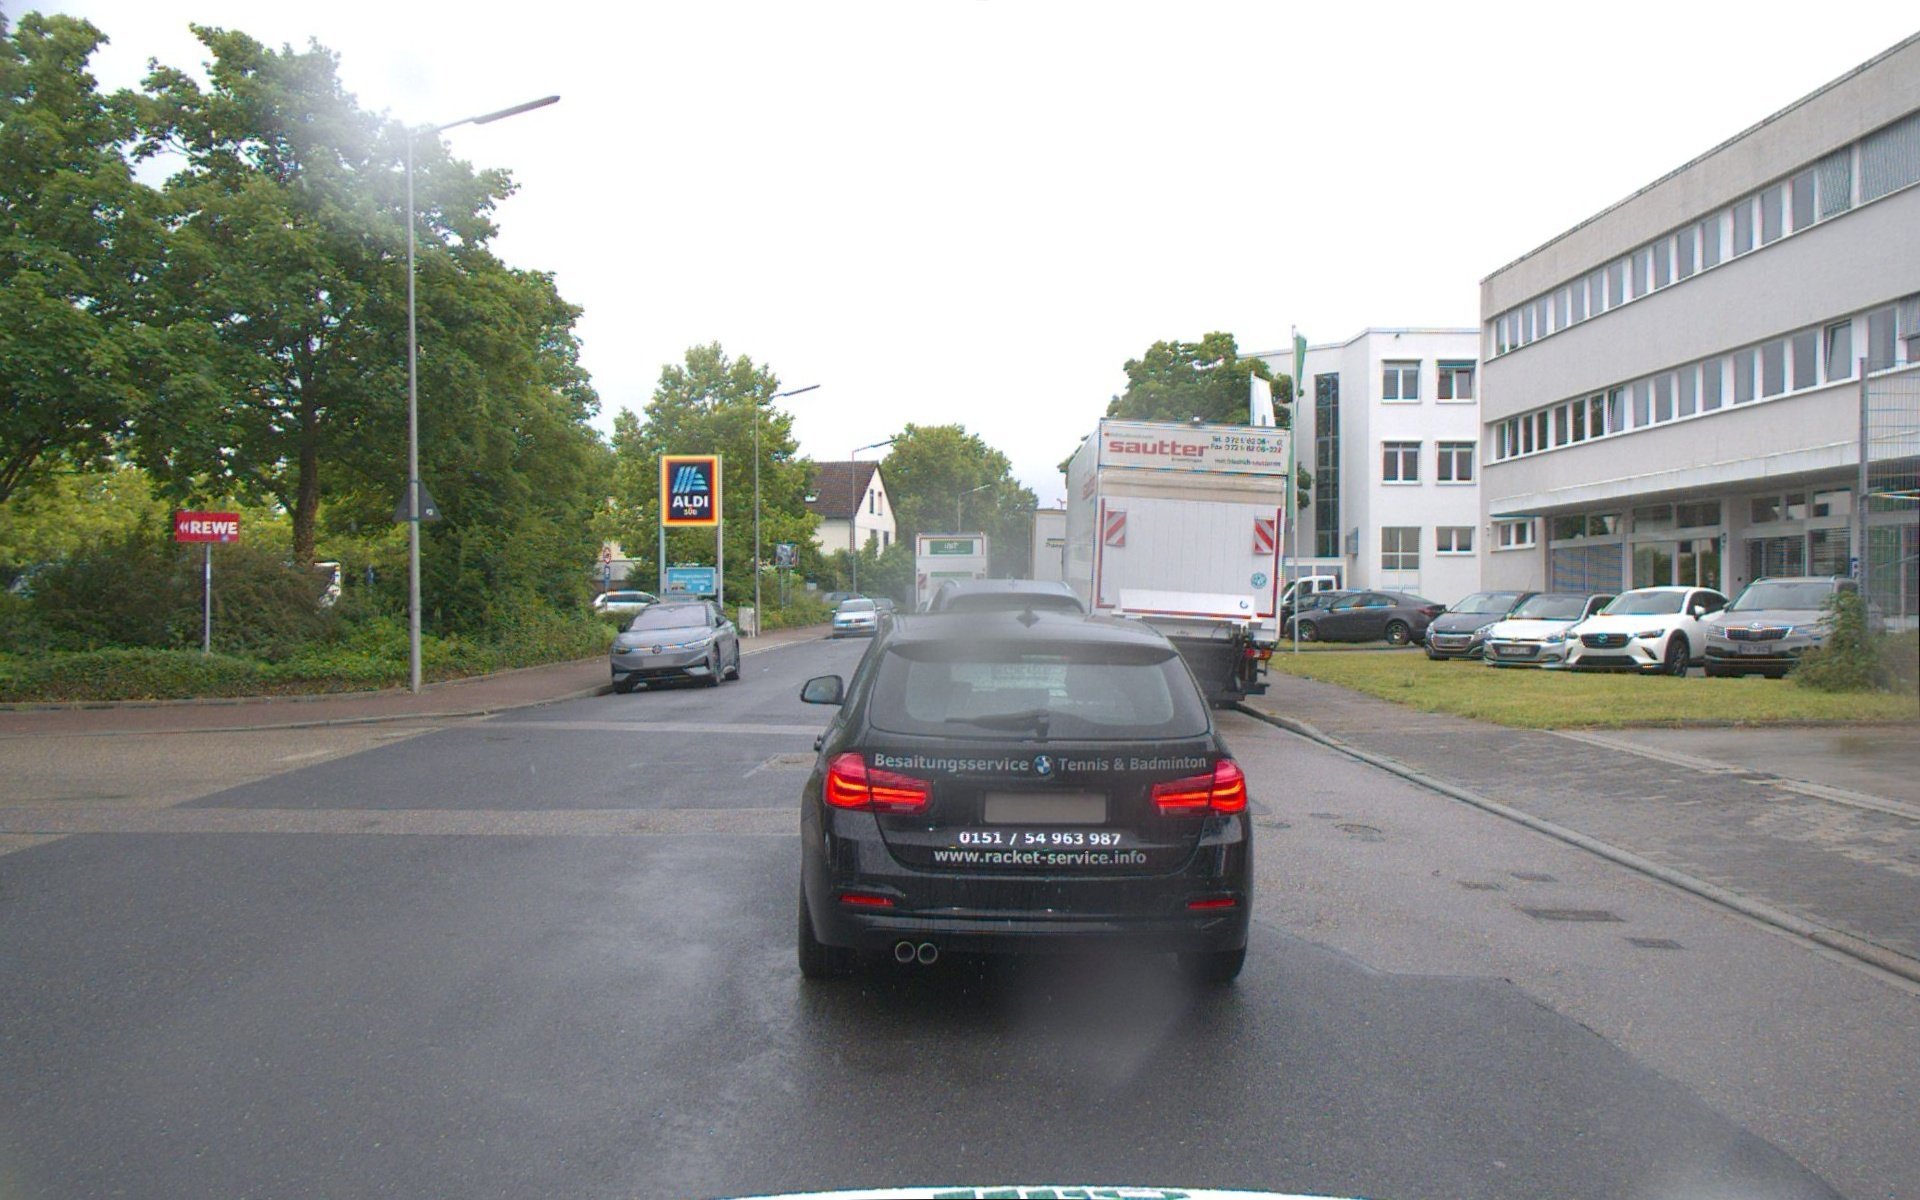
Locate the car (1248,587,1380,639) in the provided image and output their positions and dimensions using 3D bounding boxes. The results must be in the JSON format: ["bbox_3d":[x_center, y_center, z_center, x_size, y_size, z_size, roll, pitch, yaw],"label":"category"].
[{"bbox_3d":[11.181,0.388,52.366,3.712,1.421,1.718,4,3,40],"label":"car"}]

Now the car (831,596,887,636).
[{"bbox_3d":[-3.862,0.584,63.623,1.670,1.391,4.602,-3,0,2],"label":"car"}]

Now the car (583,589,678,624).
[{"bbox_3d":[-14.912,0.274,75.087,3.905,1.567,1.911,0,0,1],"label":"car"}]

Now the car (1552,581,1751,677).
[{"bbox_3d":[11.658,0.438,27.762,1.746,1.496,3.971,0,0,45],"label":"car"}]

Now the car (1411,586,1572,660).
[{"bbox_3d":[10.953,0.434,33.971,1.678,1.417,3.741,0,0,45],"label":"car"}]

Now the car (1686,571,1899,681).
[{"bbox_3d":[12.888,0.350,25.501,1.842,1.554,3.972,0,0,44],"label":"car"}]

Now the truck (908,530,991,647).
[{"bbox_3d":[-0.293,-0.493,52.438,2.293,3.313,7.752,2,2,0],"label":"truck"}]

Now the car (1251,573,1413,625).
[{"bbox_3d":[15.524,-0.030,69.127,6.327,2.049,1.998,1,-1,-5],"label":"car"}]

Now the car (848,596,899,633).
[{"bbox_3d":[-3.628,0.583,69.622,1.670,1.391,3.840,-3,0,3],"label":"car"}]

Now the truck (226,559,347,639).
[{"bbox_3d":[-24.915,-0.044,61.440,1.953,2.801,6.466,0,0,-1],"label":"truck"}]

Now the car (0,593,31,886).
[{"bbox_3d":[-6.847,0.734,8.699,3.914,1.466,1.732,-1,1,32],"label":"car"}]

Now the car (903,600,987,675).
[{"bbox_3d":[-0.393,0.803,37.081,1.768,1.579,3.998,1,0,-2],"label":"car"}]

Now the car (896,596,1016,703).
[{"bbox_3d":[-0.123,0.739,26.500,1.768,1.579,3.998,1,0,-2],"label":"car"}]

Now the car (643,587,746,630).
[{"bbox_3d":[-9.887,0.300,61.737,3.496,1.485,1.713,2,0,1],"label":"car"}]

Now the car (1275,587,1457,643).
[{"bbox_3d":[11.166,0.396,45.658,4.586,1.493,1.783,0,0,38],"label":"car"}]

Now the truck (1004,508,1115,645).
[{"bbox_3d":[2.841,-0.655,49.537,2.685,3.674,7.749,2,0,0],"label":"truck"}]

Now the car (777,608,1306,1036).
[{"bbox_3d":[0.213,0.759,7.550,1.768,1.419,3.998,1,0,-2],"label":"car"}]

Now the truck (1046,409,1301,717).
[{"bbox_3d":[2.996,-0.496,25.941,2.685,3.855,9.299,2,0,0],"label":"truck"}]

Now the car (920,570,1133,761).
[{"bbox_3d":[0.522,0.570,16.138,1.768,1.614,3.998,1,0,-2],"label":"car"}]

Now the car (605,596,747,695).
[{"bbox_3d":[-5.120,0.766,30.453,1.772,1.555,4.747,-4,0,-1],"label":"car"}]

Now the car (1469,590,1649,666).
[{"bbox_3d":[11.251,0.479,30.958,1.678,1.309,3.971,0,0,45],"label":"car"}]
